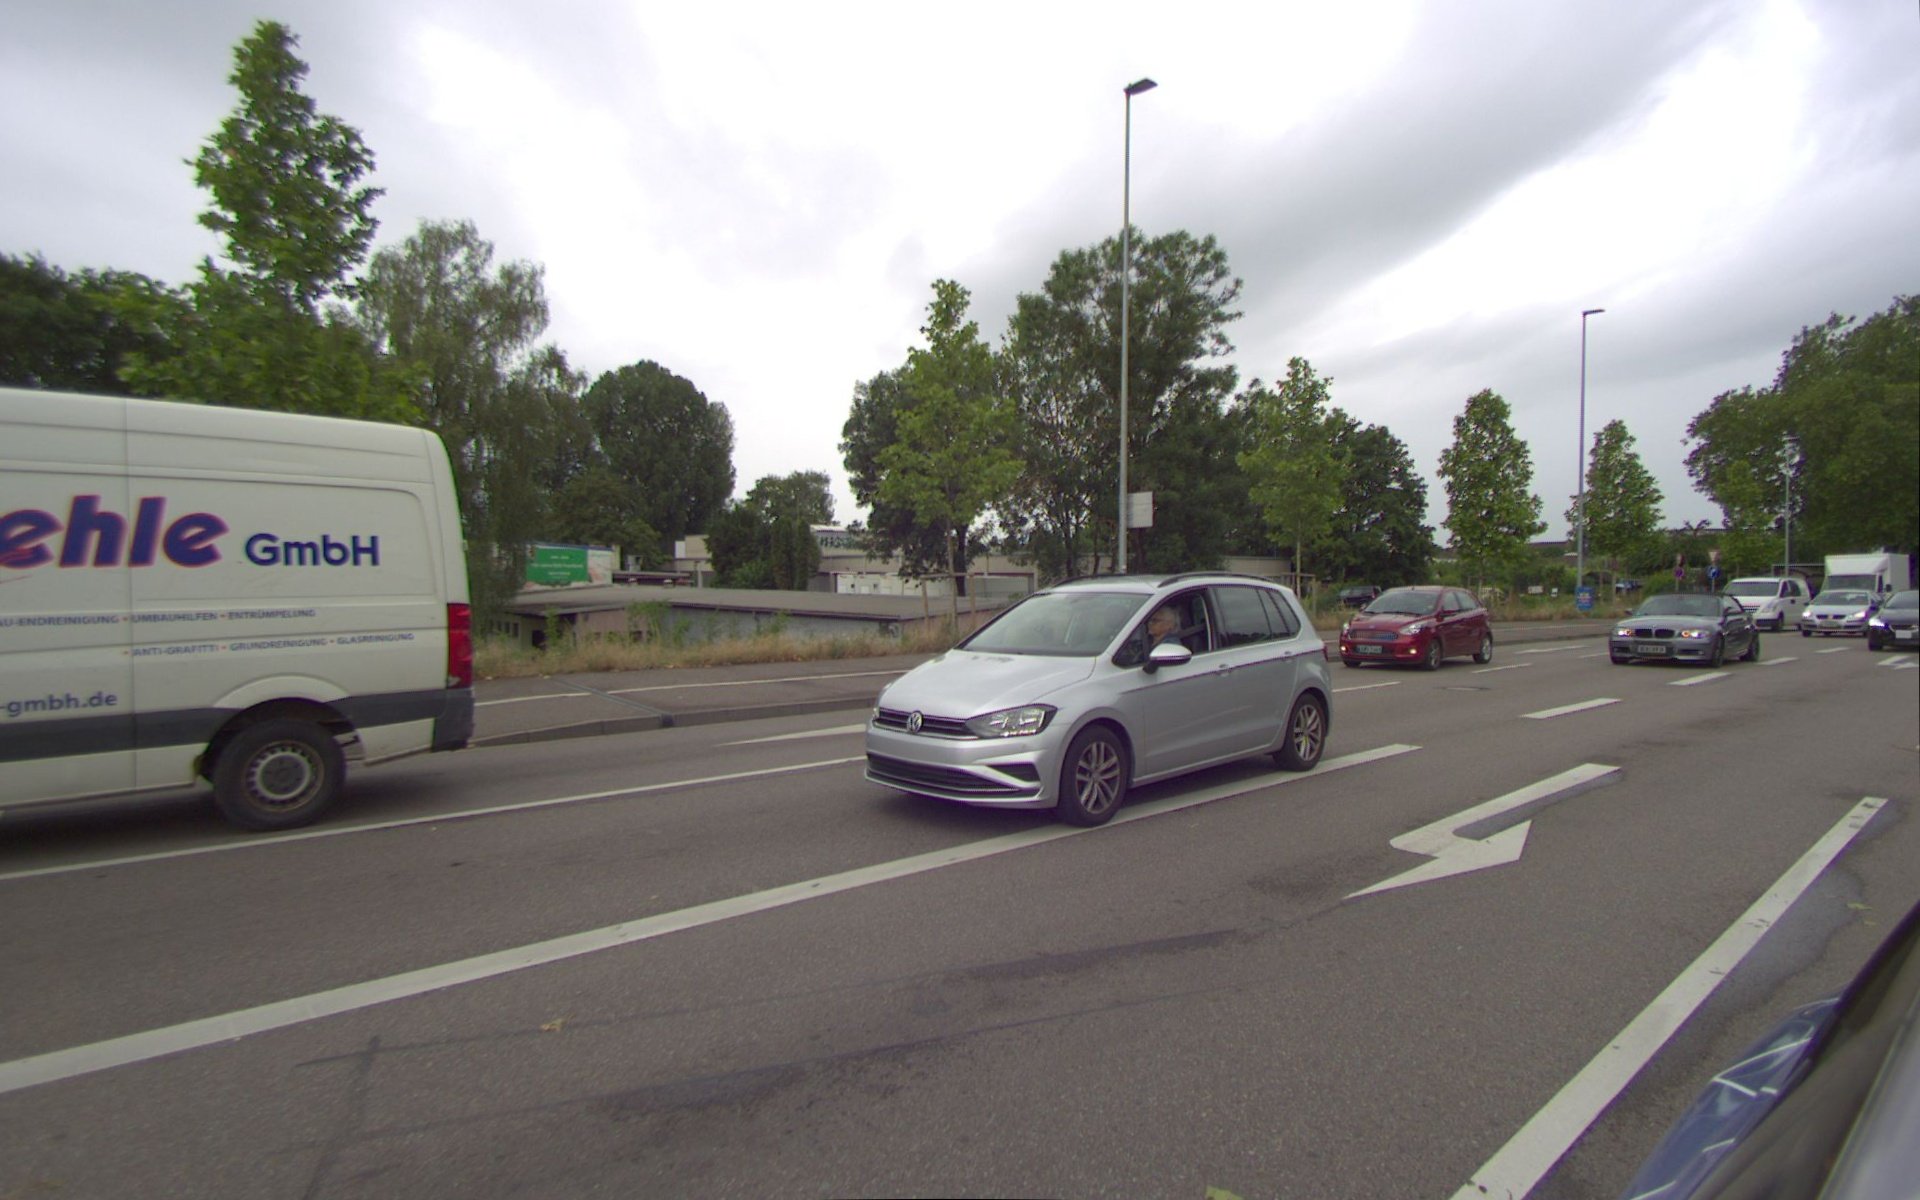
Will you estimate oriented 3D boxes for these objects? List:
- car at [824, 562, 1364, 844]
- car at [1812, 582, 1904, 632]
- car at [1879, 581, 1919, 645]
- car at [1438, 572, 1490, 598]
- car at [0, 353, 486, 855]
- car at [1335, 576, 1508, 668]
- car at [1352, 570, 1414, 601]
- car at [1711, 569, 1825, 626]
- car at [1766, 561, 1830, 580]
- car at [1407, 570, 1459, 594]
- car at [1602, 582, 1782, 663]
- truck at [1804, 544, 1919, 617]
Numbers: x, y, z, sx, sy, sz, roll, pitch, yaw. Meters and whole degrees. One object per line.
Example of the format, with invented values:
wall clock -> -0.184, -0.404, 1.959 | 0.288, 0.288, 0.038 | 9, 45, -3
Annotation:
car -> 1.205, 0.546, 7.720 | 4.129, 1.572, 1.857 | -1, 0, -42
car -> 27.534, 0.174, 30.995 | 3.783, 1.437, 1.680 | -1, 0, -41
car -> 22.850, 0.259, 23.368 | 4.269, 1.408, 1.996 | -1, 1, -42
car -> 41.603, -1.211, 83.489 | 4.479, 2.039, 2.314 | 0, 0, -41
car -> -6.306, 0.022, 6.046 | 5.799, 2.659, 2.659 | -1, 0, -42
car -> 8.798, 0.349, 19.184 | 3.707, 1.581, 1.653 | -1, 0, -42
car -> 29.724, -1.034, 71.109 | 4.477, 2.038, 2.188 | 0, 2, -40
car -> 28.875, -0.102, 36.095 | 5.027, 1.904, 2.099 | -1, 0, -38
car -> 70.335, -2.477, 84.988 | 1.781, 1.527, 3.989 | -2, 1, -44
car -> 35.926, -1.356, 76.763 | 4.574, 1.717, 2.119 | 0, 0, -44
car -> 14.335, 0.365, 19.736 | 4.267, 1.408, 1.874 | -1, 1, -40
truck -> 39.814, -0.846, 44.199 | 6.417, 2.960, 2.829 | -1, 0, -33
